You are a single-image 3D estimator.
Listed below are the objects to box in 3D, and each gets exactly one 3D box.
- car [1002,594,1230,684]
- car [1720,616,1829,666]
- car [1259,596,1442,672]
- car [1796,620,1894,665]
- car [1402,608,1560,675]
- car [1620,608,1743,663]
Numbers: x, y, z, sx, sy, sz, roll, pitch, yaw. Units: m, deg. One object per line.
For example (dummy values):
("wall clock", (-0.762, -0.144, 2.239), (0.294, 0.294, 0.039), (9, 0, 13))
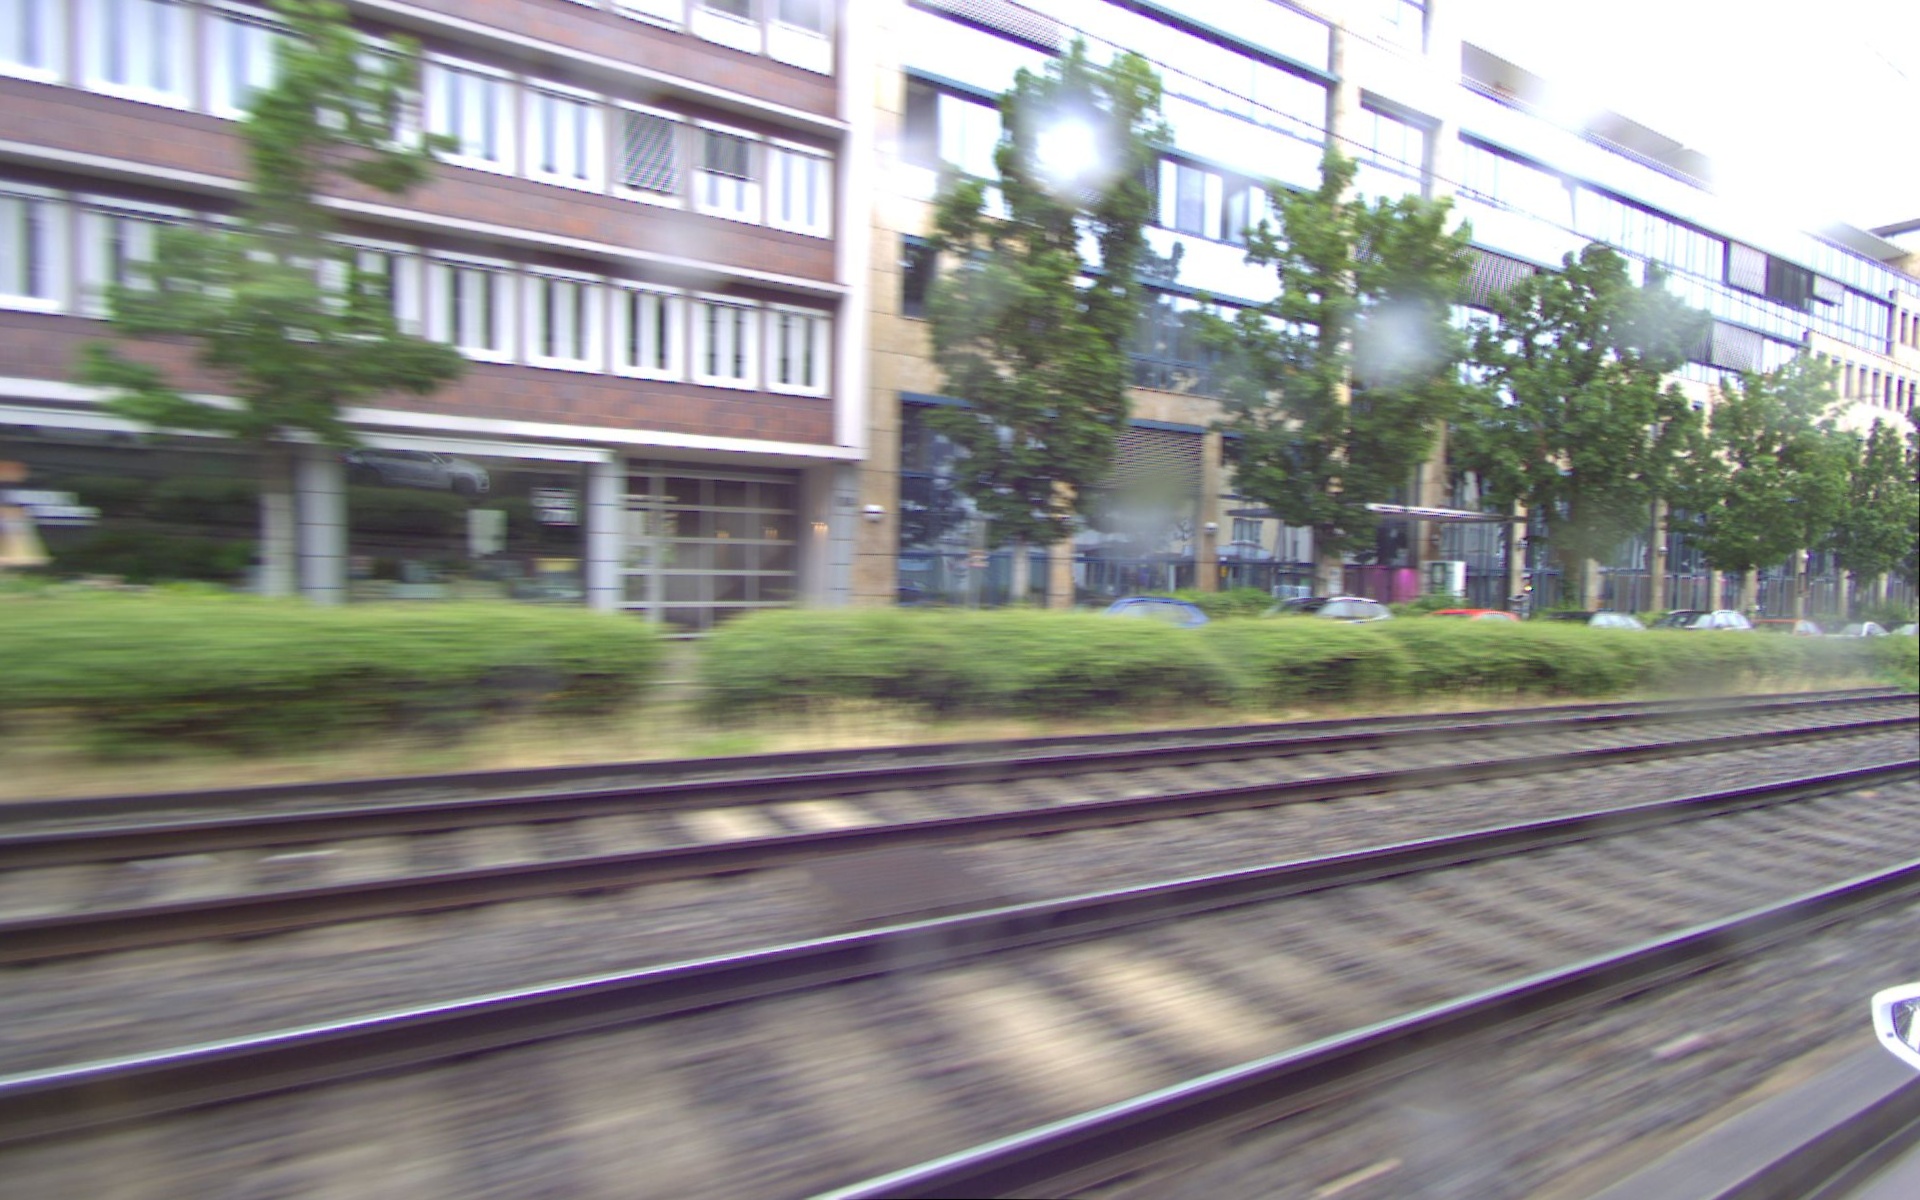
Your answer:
("car", (2.889, 0.676, 18.242), (4.134, 1.455, 1.558), (1, 0, -34))
("car", (26.140, 1.302, 32.213), (4.134, 1.455, 1.558), (1, 0, -34))
("car", (8.396, 0.715, 21.470), (4.134, 1.455, 1.558), (1, 0, -34))
("car", (30.817, 1.460, 34.941), (4.134, 1.455, 1.558), (1, 0, -34))
("car", (12.499, 0.970, 24.020), (4.134, 1.455, 1.558), (1, 0, -34))
("car", (20.953, 1.023, 29.132), (4.134, 1.455, 1.558), (1, 0, -34))
